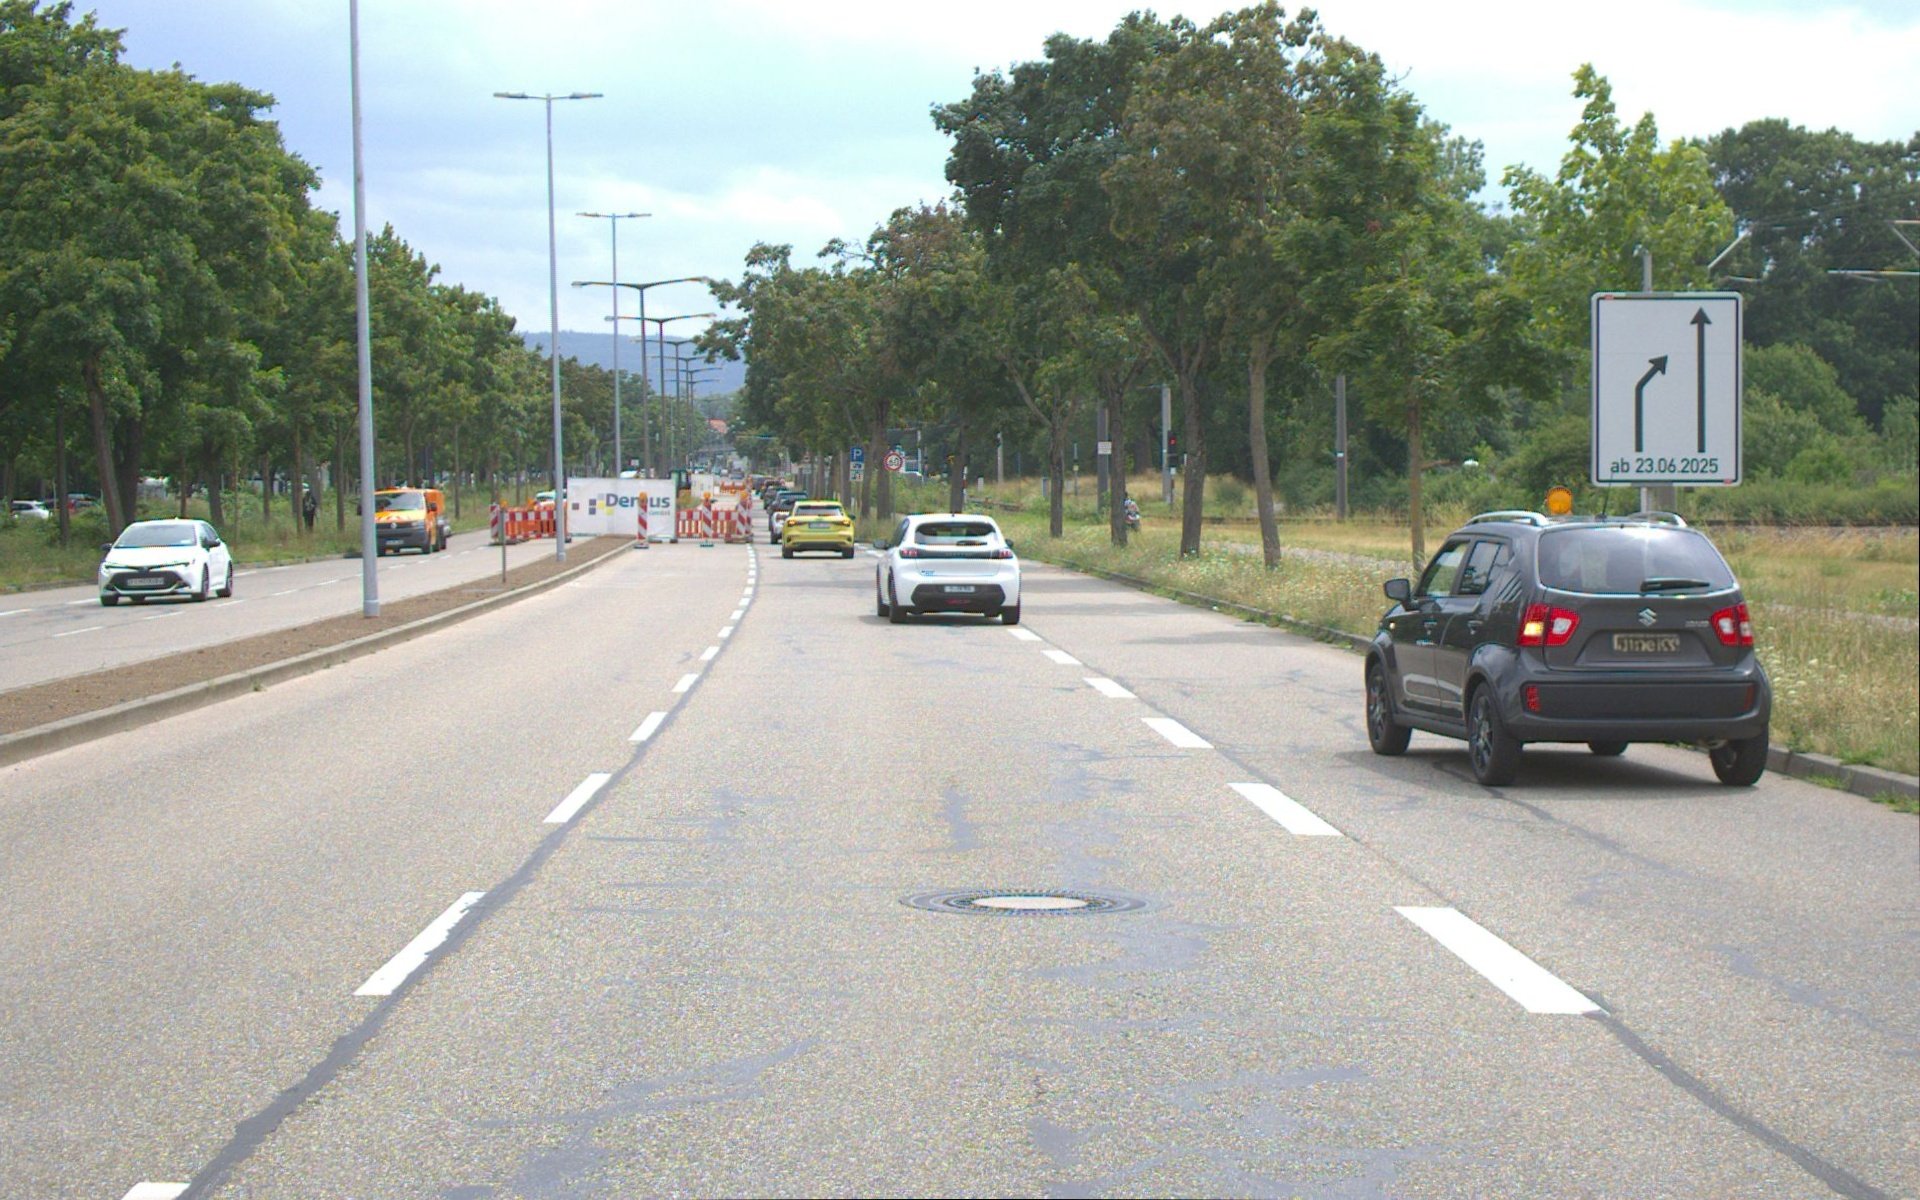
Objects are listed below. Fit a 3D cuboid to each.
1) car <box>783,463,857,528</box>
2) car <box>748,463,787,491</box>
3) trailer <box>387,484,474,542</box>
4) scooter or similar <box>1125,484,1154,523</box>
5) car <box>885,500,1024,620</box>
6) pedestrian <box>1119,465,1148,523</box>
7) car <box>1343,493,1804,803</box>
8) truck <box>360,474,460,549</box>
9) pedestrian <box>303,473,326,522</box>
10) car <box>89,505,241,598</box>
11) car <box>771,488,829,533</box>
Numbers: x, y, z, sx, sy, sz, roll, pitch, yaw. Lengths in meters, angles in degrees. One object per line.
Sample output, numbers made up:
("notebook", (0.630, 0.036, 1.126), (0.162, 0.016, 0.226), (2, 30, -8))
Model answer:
("car", (-3.514, -2.641, 86.580), (1.793, 1.556, 4.001), (0, 3, -1))
("car", (-11.915, -7.658, 213.301), (2.206, 1.678, 4.001), (0, 3, 0))
("trailer", (-16.198, -2.692, 105.307), (2.062, 1.684, 3.895), (-2, 2, -1))
("scooter or similar", (5.203, -2.799, 99.712), (0.681, 1.126, 0.934), (-1, 3, -8))
("car", (-0.111, -0.573, 46.441), (1.766, 1.459, 4.001), (0, 3, -2))
("pedestrian", (5.087, -3.114, 100.625), (0.690, 1.689, 0.934), (-1, 3, -7))
("car", (3.637, 0.209, 21.092), (1.703, 1.662, 4.001), (0, 2, -6))
("truck", (-16.082, -2.627, 100.760), (2.088, 1.987, 6.040), (-2, 3, -2))
("pedestrian", (-24.455, -3.874, 130.281), (0.690, 1.832, 0.651), (-1, 3, -24))
("car", (-13.809, -0.868, 59.916), (1.716, 1.415, 4.161), (-2, 3, -1))
("car", (-4.881, -2.756, 105.211), (1.667, 1.265, 4.001), (0, 3, -1))
